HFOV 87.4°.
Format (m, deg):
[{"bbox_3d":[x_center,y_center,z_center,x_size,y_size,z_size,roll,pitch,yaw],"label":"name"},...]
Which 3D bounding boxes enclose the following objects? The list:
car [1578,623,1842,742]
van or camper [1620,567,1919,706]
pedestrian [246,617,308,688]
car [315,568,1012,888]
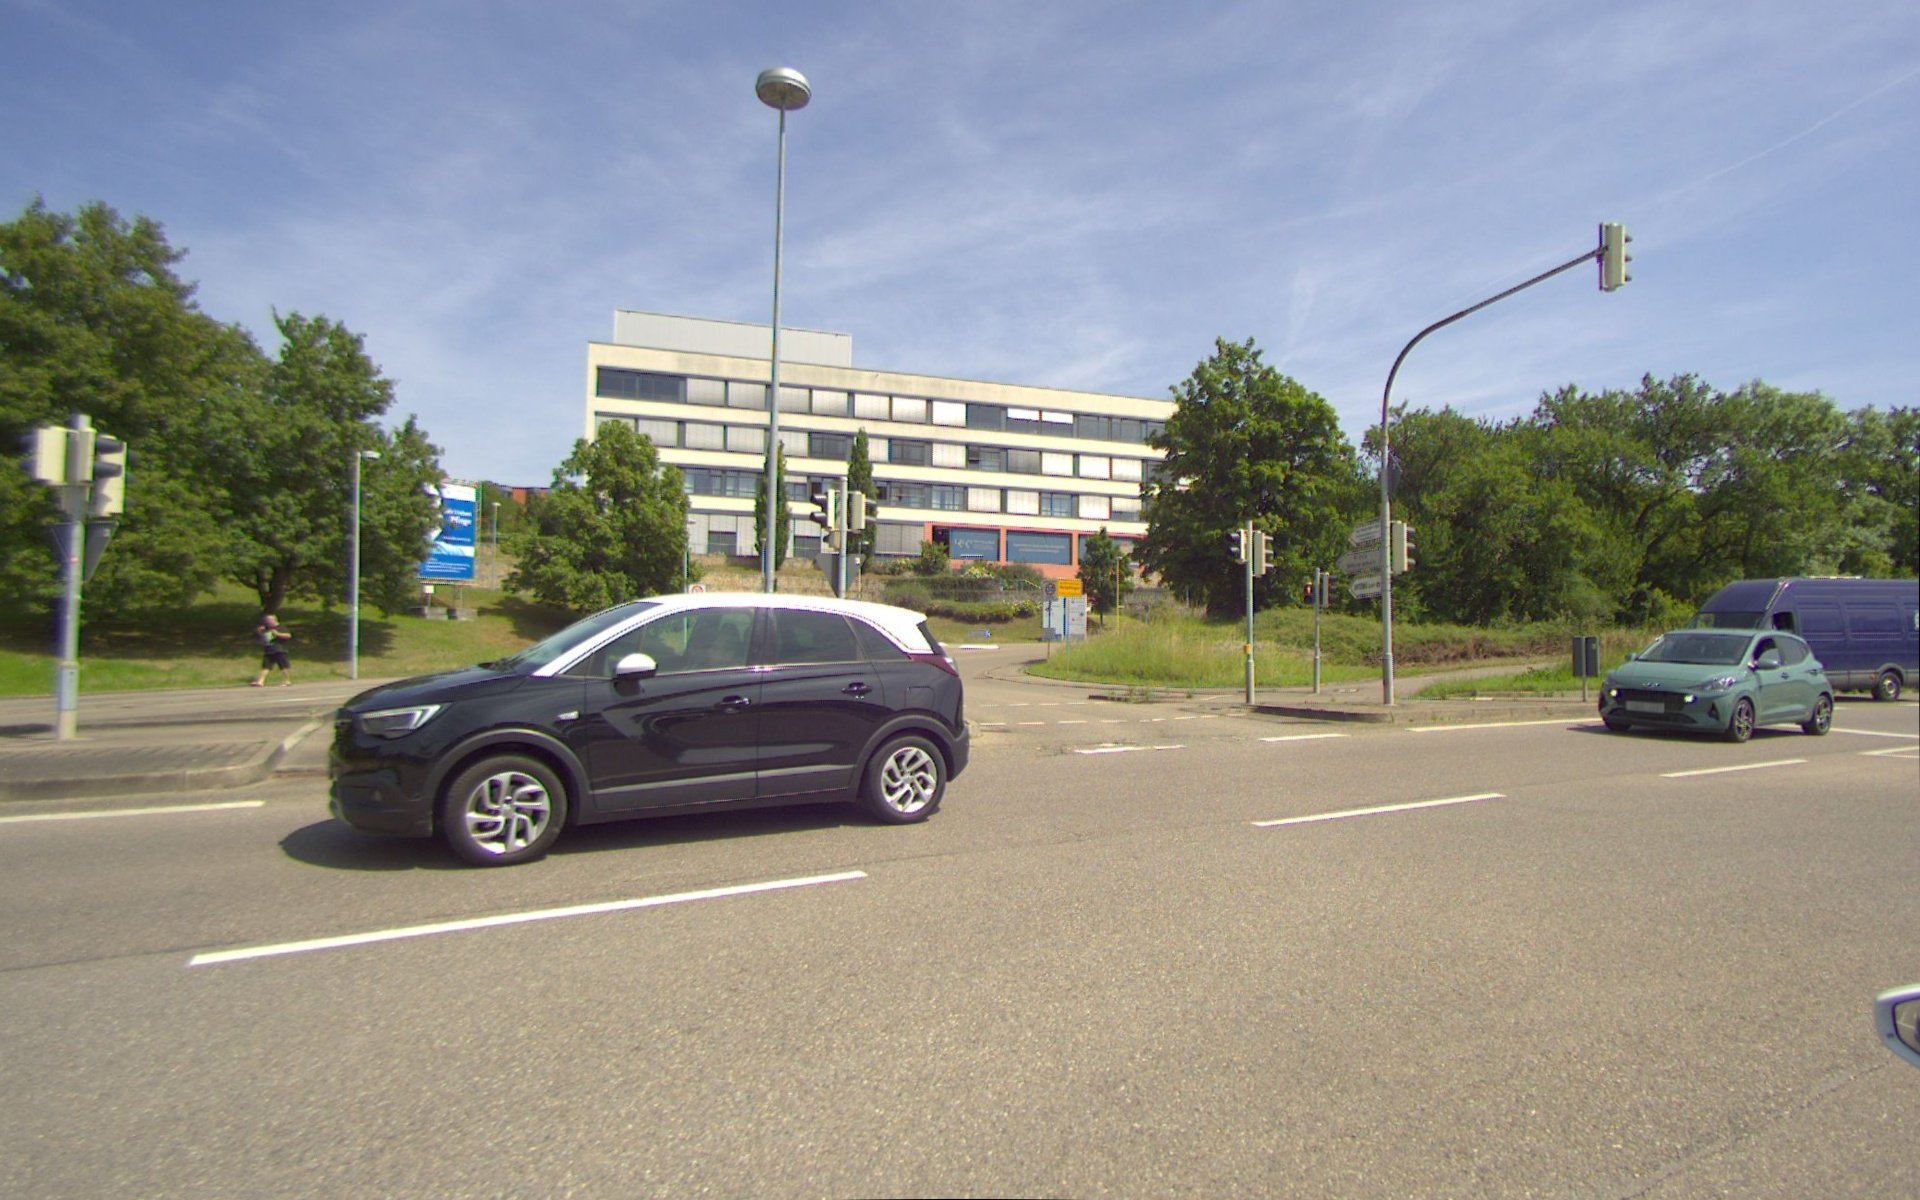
[{"bbox_3d":[10.877,1.125,14.529,3.787,1.502,1.699,2,-1,-30],"label":"car"},{"bbox_3d":[19.247,0.801,23.445,7.124,2.953,2.240,0,-1,-15],"label":"van or camper"},{"bbox_3d":[-17.408,1.314,25.621,0.881,1.759,0.923,1,-1,5],"label":"pedestrian"},{"bbox_3d":[-1.905,0.700,6.908,4.142,1.583,1.964,2,-1,-31],"label":"car"}]
